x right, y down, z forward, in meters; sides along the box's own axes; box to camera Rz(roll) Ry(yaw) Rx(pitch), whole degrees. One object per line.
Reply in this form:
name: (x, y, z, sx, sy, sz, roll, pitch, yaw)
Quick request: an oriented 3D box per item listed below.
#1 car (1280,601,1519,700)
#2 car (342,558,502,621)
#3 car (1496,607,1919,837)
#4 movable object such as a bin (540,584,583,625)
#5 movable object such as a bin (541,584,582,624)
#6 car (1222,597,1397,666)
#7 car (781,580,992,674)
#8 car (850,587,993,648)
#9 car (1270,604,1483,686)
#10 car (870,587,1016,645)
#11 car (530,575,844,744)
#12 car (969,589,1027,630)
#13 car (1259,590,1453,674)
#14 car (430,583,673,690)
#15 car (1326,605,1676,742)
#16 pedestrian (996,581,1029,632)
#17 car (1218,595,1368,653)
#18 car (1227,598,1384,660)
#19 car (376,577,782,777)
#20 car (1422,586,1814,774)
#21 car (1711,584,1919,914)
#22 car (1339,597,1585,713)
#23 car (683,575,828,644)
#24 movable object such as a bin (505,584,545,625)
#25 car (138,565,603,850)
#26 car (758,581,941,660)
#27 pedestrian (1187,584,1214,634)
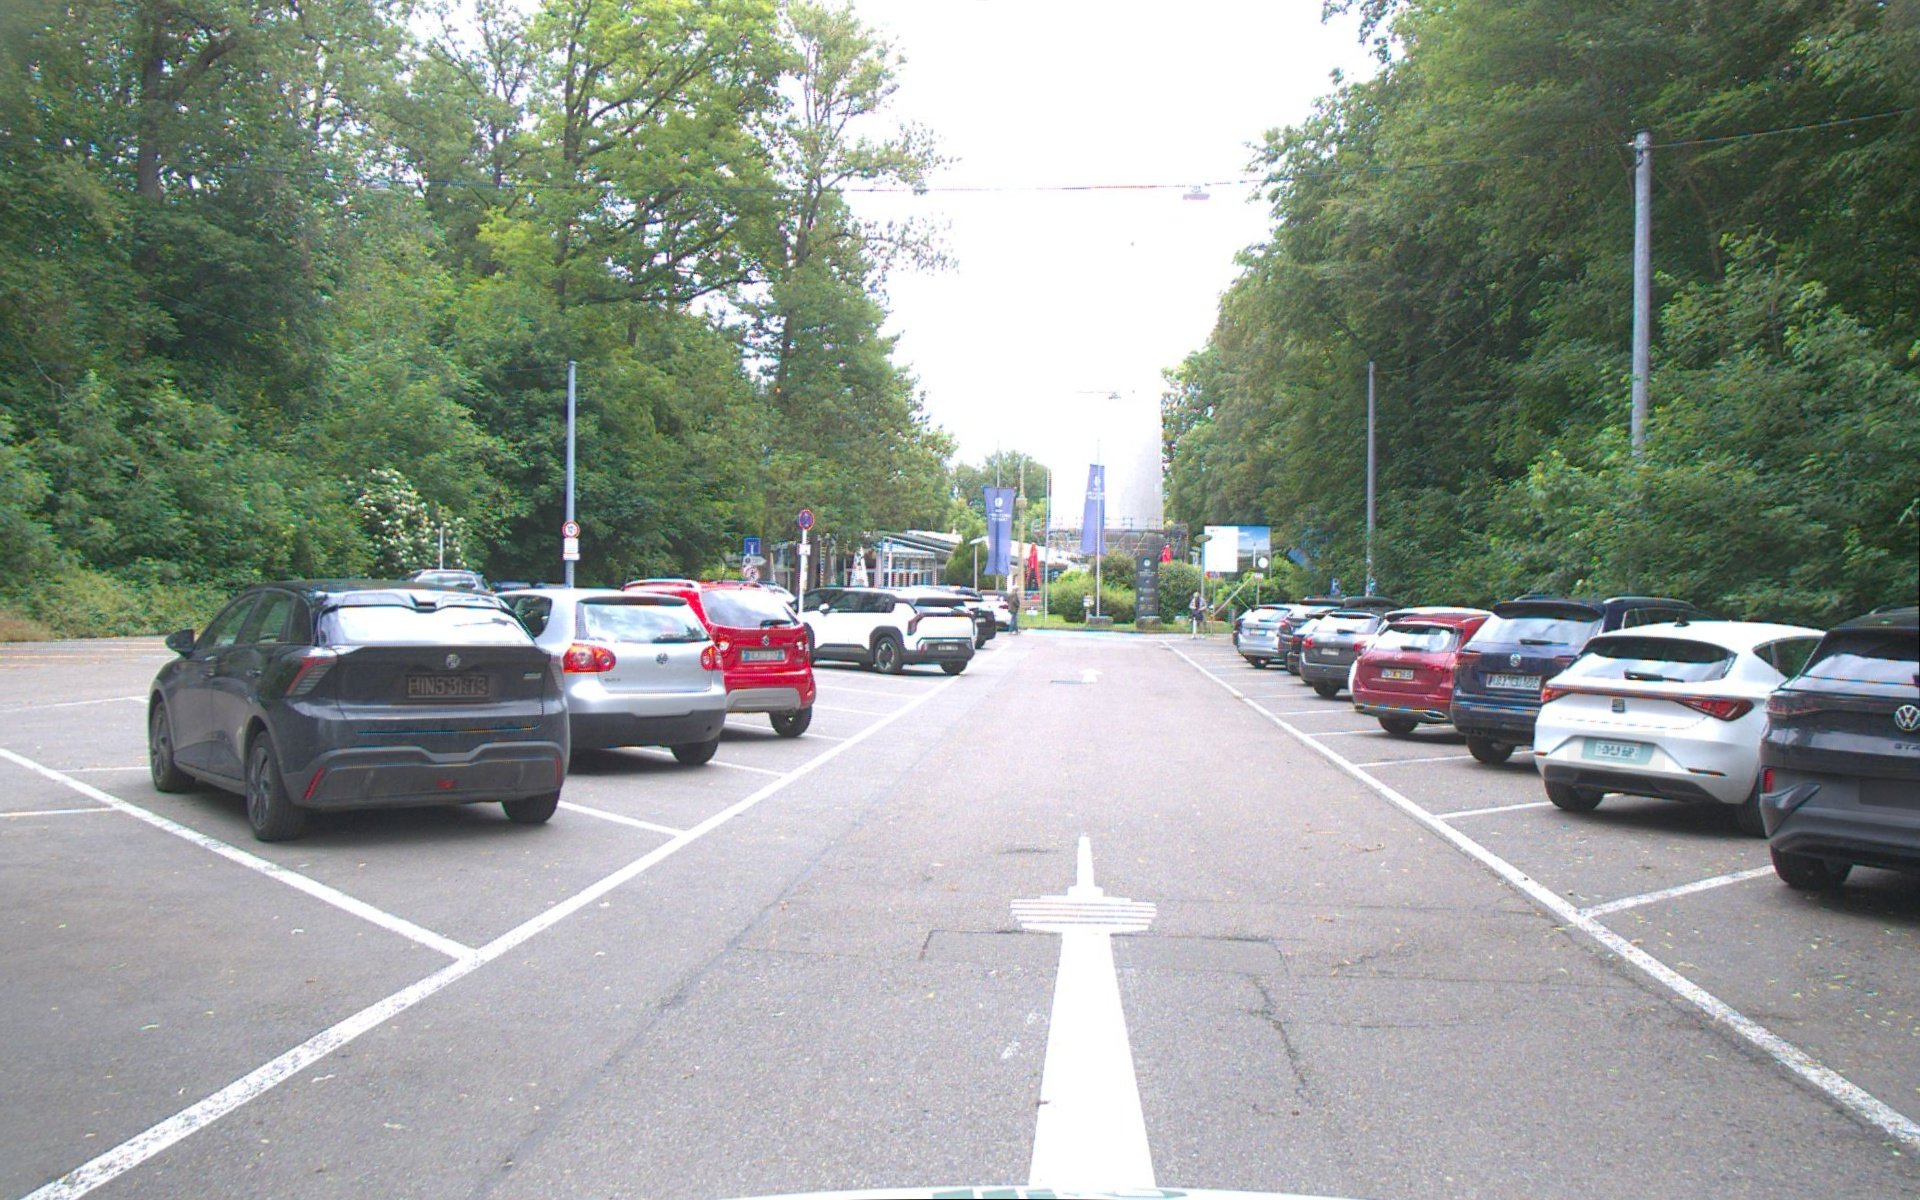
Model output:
car: (7.327, 0.800, 27.371, 4.147, 1.483, 1.779, 1, 0, -40)
car: (-15.607, -0.301, 48.072, 4.031, 1.714, 1.854, 1, 0, -39)
car: (6.172, 0.840, 12.823, 4.076, 1.464, 1.845, 1, 0, -37)
movable object such as a bin: (-13.307, 0.152, 55.207, 1.154, 1.330, 1.303, 1, 0, -25)
movable object such as a bin: (-13.844, 0.126, 57.478, 1.229, 1.348, 1.144, 1, 0, -8)
car: (8.133, 0.712, 38.402, 3.955, 1.492, 1.812, 1, 1, -36)
car: (-1.457, 0.462, 31.654, 1.831, 1.624, 4.126, 1, 1, -42)
car: (-1.037, 0.433, 43.029, 1.756, 1.468, 3.791, 1, 0, -39)
car: (7.957, 0.826, 31.443, 4.227, 1.401, 1.935, 1, 0, -42)
car: (-0.517, 0.423, 46.021, 1.744, 1.468, 4.214, 1, 0, -42)
car: (-3.047, 0.570, 18.027, 1.673, 1.613, 3.597, 1, 0, -43)
car: (1.492, 0.333, 62.837, 1.853, 1.453, 4.003, 1, 1, 6)
car: (8.538, 0.674, 35.474, 4.223, 1.665, 1.937, 1, 0, -40)
car: (-6.406, 0.511, 25.669, 1.854, 1.467, 4.249, 1, 0, -43)
car: (6.593, 0.840, 19.995, 4.248, 1.438, 1.904, 1, 0, -36)
pedestrian: (1.843, 0.232, 58.231, 0.882, 1.755, 0.758, 1, 0, -24)
car: (9.247, 0.659, 45.772, 4.164, 1.488, 1.872, 1, 0, -40)
car: (8.789, 0.721, 41.947, 3.963, 1.447, 1.882, 1, 1, -41)
car: (-3.528, 0.591, 14.868, 1.861, 1.509, 3.938, 1, 0, -42)
car: (6.672, 0.741, 16.619, 4.076, 1.646, 1.818, 1, 0, -37)
car: (6.218, 0.772, 9.566, 4.168, 1.608, 1.928, 1, 0, -42)
car: (7.325, 0.763, 24.041, 3.546, 1.531, 1.711, 1, 0, -38)
car: (-5.424, 0.225, 43.524, 1.882, 1.692, 3.939, 1, 0, -42)
movable object such as a bin: (-14.408, 0.140, 54.780, 1.109, 1.337, 1.175, 1, 0, -25)
car: (-4.125, 0.566, 11.157, 1.811, 1.549, 4.046, 1, 0, -37)
car: (-2.461, 0.422, 36.352, 3.931, 1.581, 1.861, 2, 1, 44)
pedestrian: (8.578, 0.315, 58.970, 0.746, 1.755, 0.897, 1, 0, 22)
